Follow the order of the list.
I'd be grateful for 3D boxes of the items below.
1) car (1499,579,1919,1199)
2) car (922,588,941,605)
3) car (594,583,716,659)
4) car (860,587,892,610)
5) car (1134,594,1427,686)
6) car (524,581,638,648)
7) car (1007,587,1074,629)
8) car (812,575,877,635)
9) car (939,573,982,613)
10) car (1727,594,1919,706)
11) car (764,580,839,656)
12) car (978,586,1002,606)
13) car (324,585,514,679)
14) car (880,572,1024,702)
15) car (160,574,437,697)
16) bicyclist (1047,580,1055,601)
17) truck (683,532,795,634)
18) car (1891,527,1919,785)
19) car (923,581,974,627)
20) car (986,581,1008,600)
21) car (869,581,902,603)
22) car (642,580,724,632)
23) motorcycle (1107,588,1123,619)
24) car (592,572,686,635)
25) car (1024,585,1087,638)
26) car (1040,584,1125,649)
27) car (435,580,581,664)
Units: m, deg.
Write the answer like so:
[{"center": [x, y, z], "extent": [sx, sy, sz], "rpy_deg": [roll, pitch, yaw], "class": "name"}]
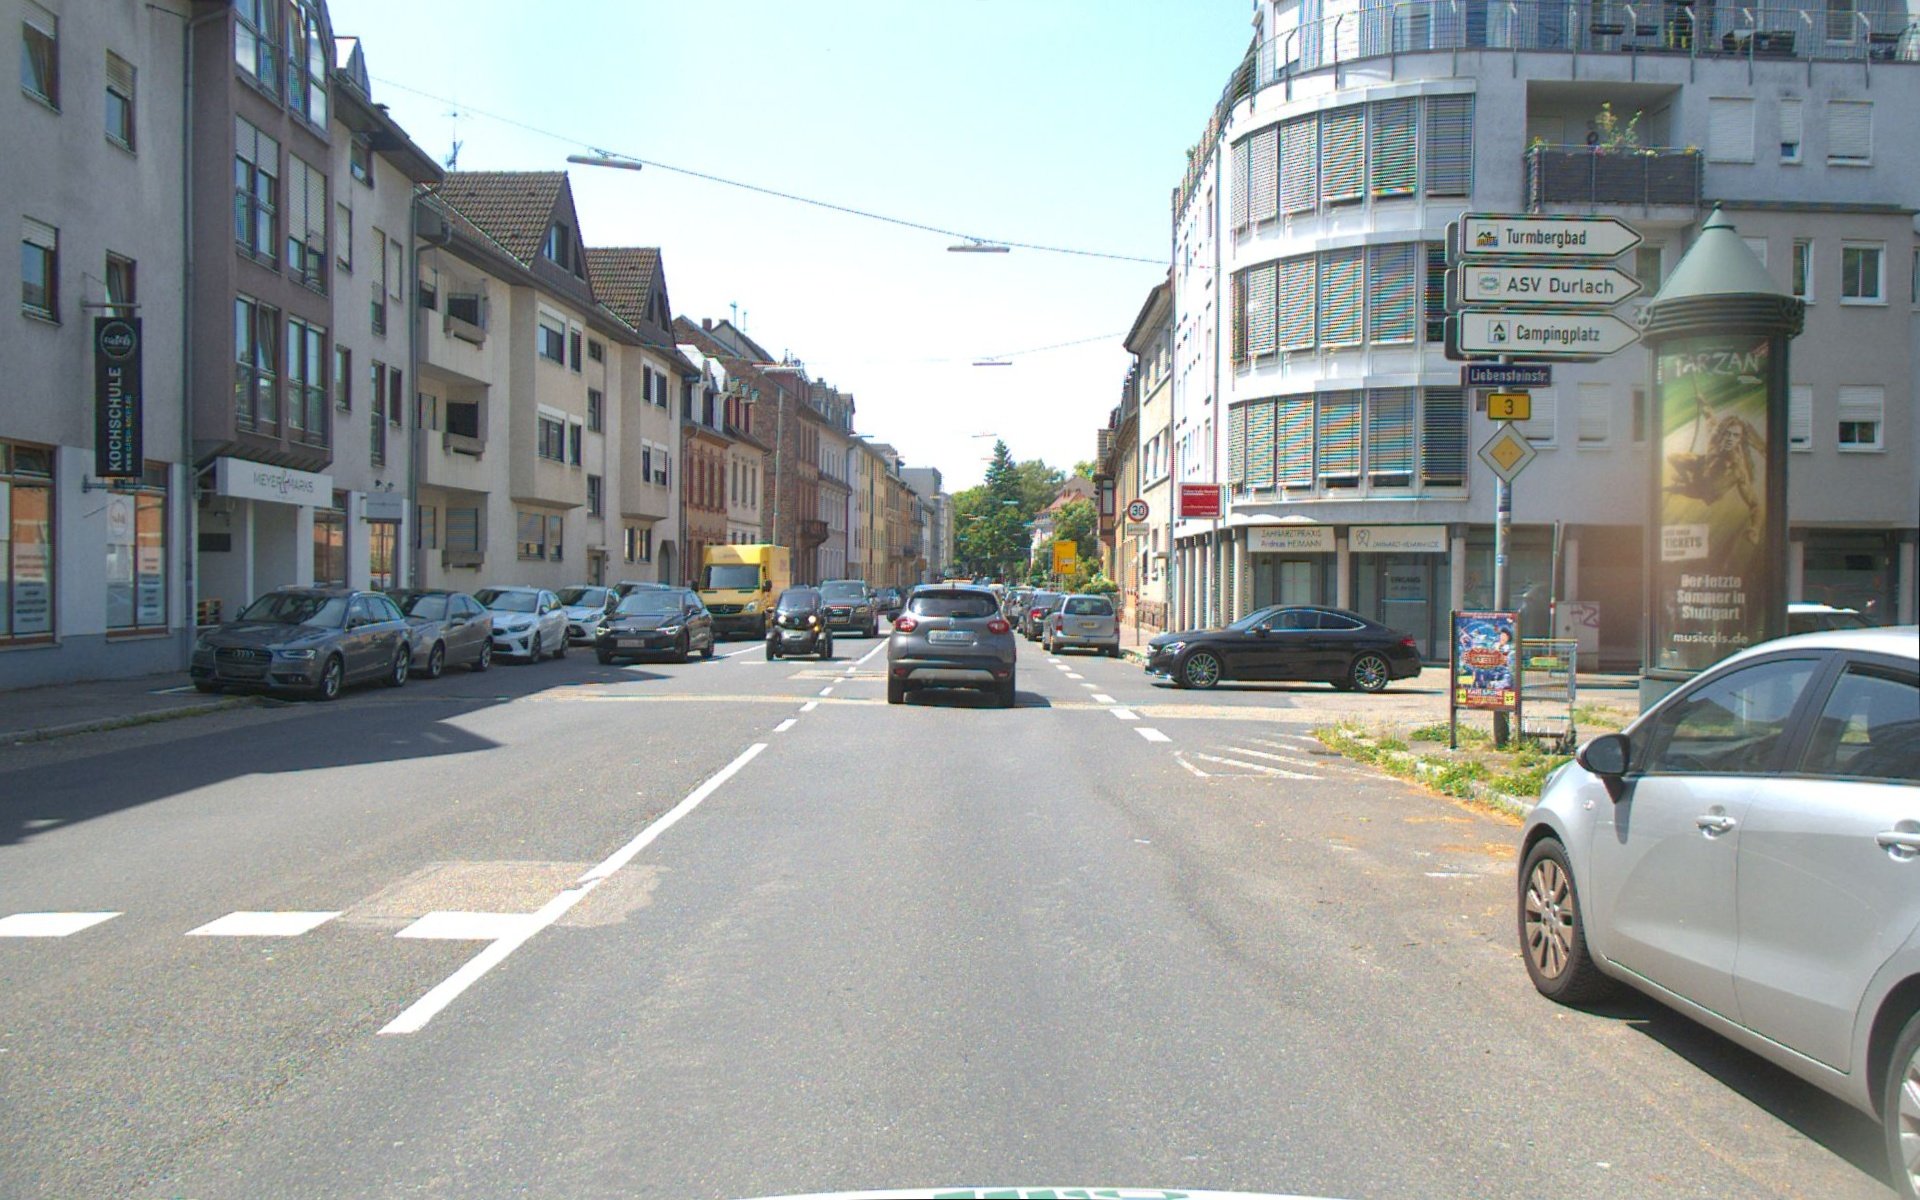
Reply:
[{"center": [3.159, 0.725, 5.039], "extent": [1.731, 1.511, 3.890], "rpy_deg": [1, 0, 0], "class": "car"}, {"center": [-2.787, -0.337, 161.503], "extent": [1.866, 1.648, 4.301], "rpy_deg": [-1, 0, -1], "class": "car"}, {"center": [-6.161, 0.390, 33.830], "extent": [1.707, 1.444, 4.223], "rpy_deg": [0, 0, 0], "class": "car"}, {"center": [-5.628, -0.077, 110.992], "extent": [1.802, 1.447, 4.646], "rpy_deg": [-2, 0, 0], "class": "car"}, {"center": [5.322, 0.652, 27.849], "extent": [4.489, 1.389, 1.999], "rpy_deg": [1, 0, -3], "class": "car"}, {"center": [-9.419, 0.337, 41.417], "extent": [1.802, 1.515, 4.386], "rpy_deg": [3, 0, -1], "class": "car"}, {"center": [2.939, 0.279, 61.241], "extent": [1.818, 1.489, 4.545], "rpy_deg": [1, 0, -5], "class": "car"}, {"center": [-3.363, 0.135, 48.560], "extent": [1.776, 1.649, 4.438], "rpy_deg": [-1, 0, -3], "class": "car"}, {"center": [0.033, -0.368, 86.777], "extent": [1.951, 2.049, 4.468], "rpy_deg": [0, 0, 4], "class": "car"}, {"center": [13.818, 0.750, 24.825], "extent": [3.908, 1.582, 1.569], "rpy_deg": [1, 0, -4], "class": "car"}, {"center": [-3.259, 0.349, 34.223], "extent": [1.467, 1.484, 2.720], "rpy_deg": [1, 0, -5], "class": "car"}, {"center": [2.433, -0.314, 133.418], "extent": [1.726, 1.587, 3.944], "rpy_deg": [0, 0, 4], "class": "car"}, {"center": [-9.246, 0.514, 28.646], "extent": [1.802, 1.408, 4.327], "rpy_deg": [3, 0, 0], "class": "car"}, {"center": [-0.198, 0.445, 23.306], "extent": [1.710, 1.644, 3.997], "rpy_deg": [1, 1, -5], "class": "car"}, {"center": [-9.193, 0.447, 23.510], "extent": [1.802, 1.472, 4.969], "rpy_deg": [3, 0, 1], "class": "car"}, {"center": [6.711, -0.700, 122.027], "extent": [0.521, 1.495, 0.791], "rpy_deg": [0, 0, 3], "class": "bicyclist"}, {"center": [-6.544, -0.501, 49.987], "extent": [2.179, 2.819, 7.565], "rpy_deg": [-1, 0, 1], "class": "truck"}, {"center": [8.606, 0.432, 10.803], "extent": [3.906, 1.781, 2.016], "rpy_deg": [1, 0, -2], "class": "car"}, {"center": [-0.384, 0.139, 61.518], "extent": [1.775, 1.649, 4.442], "rpy_deg": [-1, 0, 1], "class": "car"}, {"center": [3.171, -0.844, 141.043], "extent": [1.726, 1.587, 3.944], "rpy_deg": [0, 0, 4], "class": "car"}, {"center": [-5.256, -0.537, 116.768], "extent": [1.801, 1.447, 4.560], "rpy_deg": [-2, 0, 4], "class": "car"}, {"center": [-8.894, 0.176, 53.376], "extent": [1.802, 1.514, 4.387], "rpy_deg": [3, 0, 1], "class": "car"}, {"center": [6.378, 0.152, 68.093], "extent": [0.583, 1.246, 1.361], "rpy_deg": [1, 0, 1], "class": "motorcycle"}, {"center": [-9.083, 0.091, 47.135], "extent": [1.802, 1.623, 4.386], "rpy_deg": [3, 0, -1], "class": "car"}, {"center": [2.847, 0.313, 50.062], "extent": [1.676, 1.499, 4.438], "rpy_deg": [0, 0, 1], "class": "car"}, {"center": [2.998, 0.370, 41.152], "extent": [1.644, 1.479, 4.141], "rpy_deg": [2, 0, -2], "class": "car"}, {"center": [-9.176, 0.420, 33.939], "extent": [1.802, 1.515, 4.385], "rpy_deg": [3, 0, -1], "class": "car"}]
